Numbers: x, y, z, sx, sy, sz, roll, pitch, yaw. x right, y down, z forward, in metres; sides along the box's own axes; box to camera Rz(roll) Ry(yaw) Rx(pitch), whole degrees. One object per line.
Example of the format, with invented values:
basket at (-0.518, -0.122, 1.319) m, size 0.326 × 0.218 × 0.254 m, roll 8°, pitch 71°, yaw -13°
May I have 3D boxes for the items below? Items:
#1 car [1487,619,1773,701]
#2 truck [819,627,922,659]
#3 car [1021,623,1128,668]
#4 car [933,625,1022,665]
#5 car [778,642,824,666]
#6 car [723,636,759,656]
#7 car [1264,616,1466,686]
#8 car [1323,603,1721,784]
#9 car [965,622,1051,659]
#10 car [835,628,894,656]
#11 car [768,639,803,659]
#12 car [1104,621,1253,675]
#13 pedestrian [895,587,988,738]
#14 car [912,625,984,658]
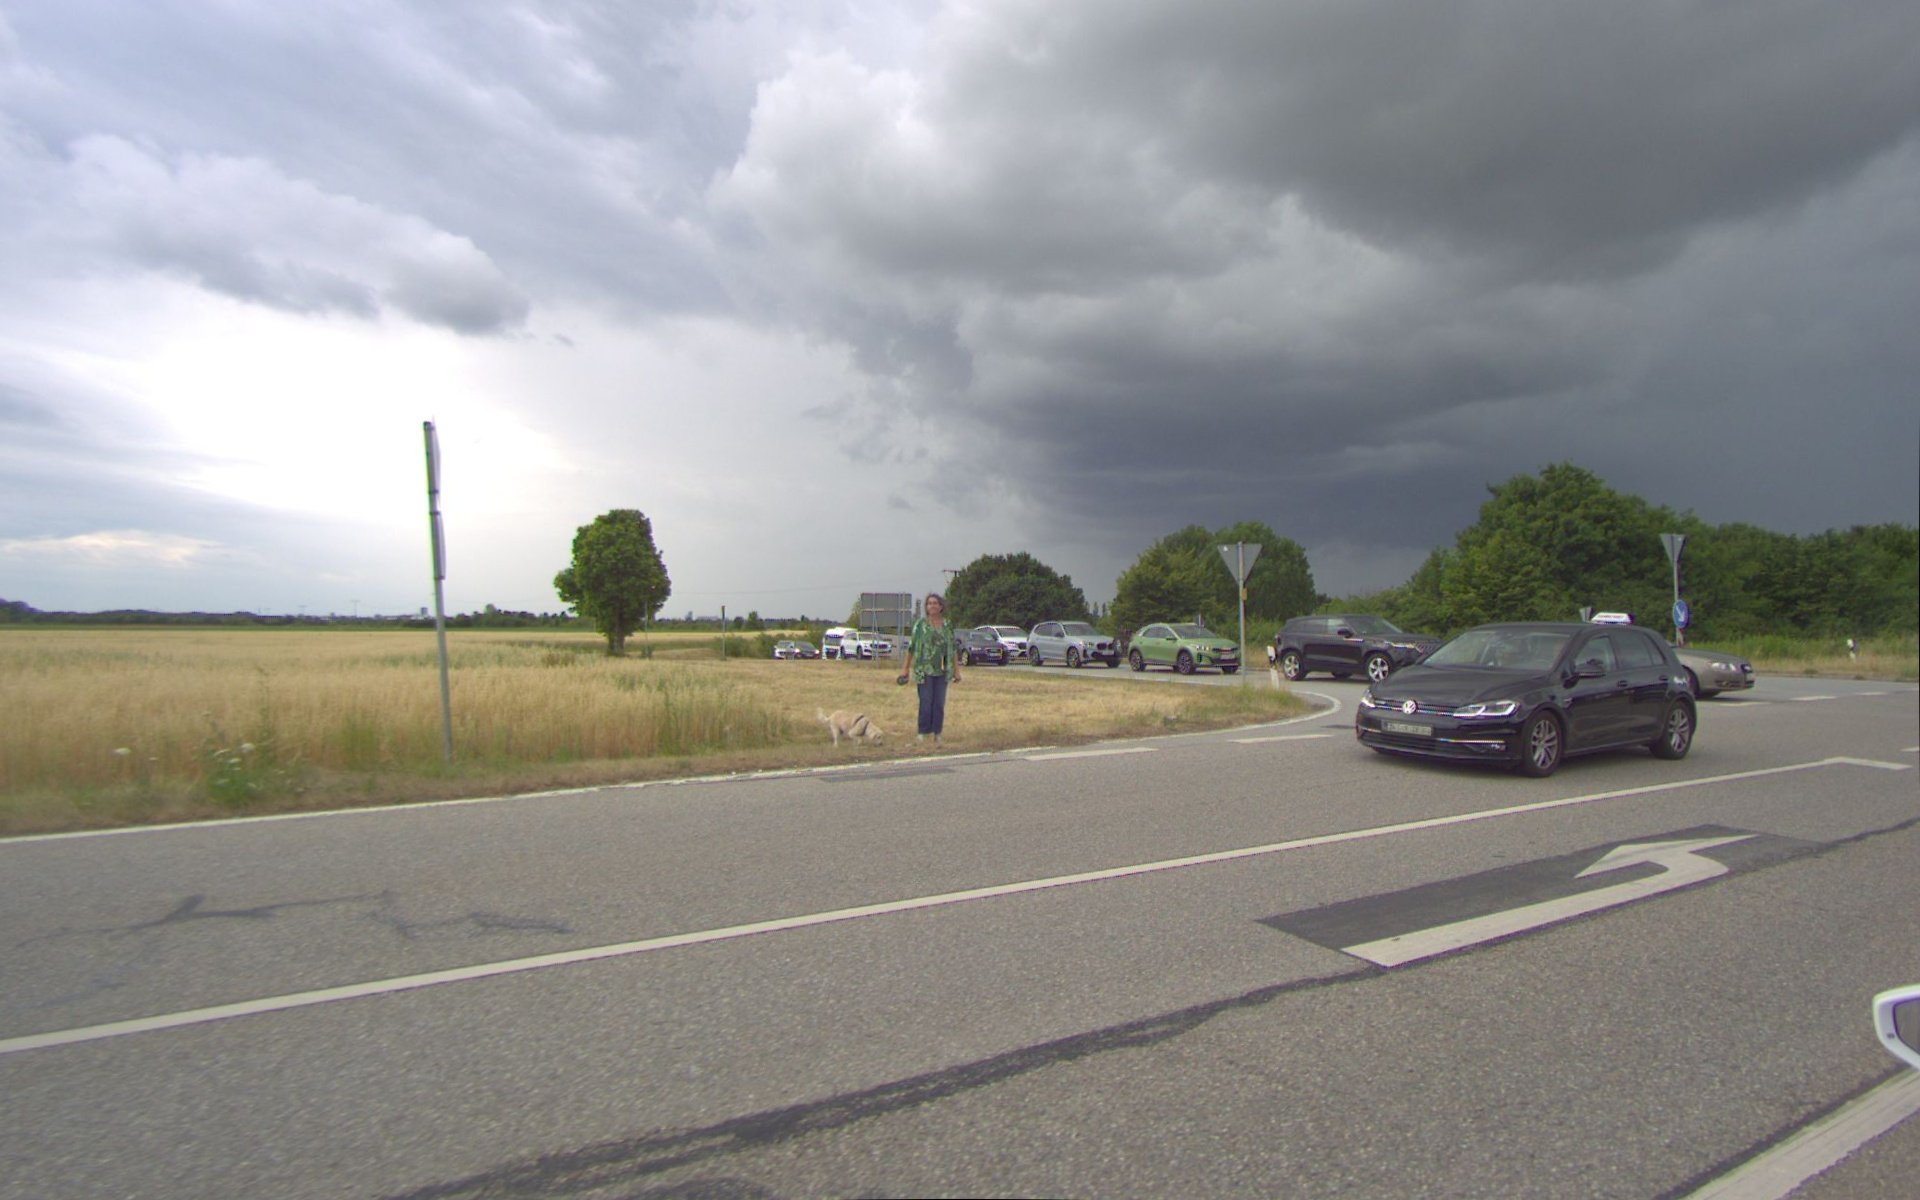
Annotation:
car at (13.227, 1.109, 20.085) m, size 1.894 × 1.443 × 4.417 m, roll 1°, pitch -2°, yaw -37°
truck at (-9.417, 4.561, 109.003) m, size 2.749 × 3.174 × 16.299 m, roll 0°, pitch -1°, yaw 28°
car at (4.118, 1.636, 37.002) m, size 1.884 × 1.537 × 4.613 m, roll 1°, pitch -1°, yaw -23°
car at (0.626, 1.738, 39.928) m, size 1.884 × 1.502 × 4.387 m, roll 1°, pitch -1°, yaw -23°
car at (-10.994, 3.691, 69.383) m, size 1.886 × 1.502 × 4.476 m, roll 1°, pitch -1°, yaw -26°
car at (-20.125, 4.195, 92.499) m, size 1.872 × 1.703 × 4.509 m, roll 0°, pitch -1°, yaw 6°
car at (9.864, 1.190, 24.925) m, size 1.884 × 1.552 × 4.729 m, roll 1°, pitch -1°, yaw -23°
car at (5.959, 0.853, 10.523) m, size 4.344 × 1.541 × 1.671 m, roll 1°, pitch 0°, yaw -30°
car at (1.965, 1.677, 42.659) m, size 1.884 × 1.502 × 4.481 m, roll 1°, pitch -1°, yaw -23°
car at (-5.522, 2.382, 57.427) m, size 1.886 × 1.502 × 4.476 m, roll 1°, pitch -1°, yaw -26°
car at (-14.341, 3.984, 82.674) m, size 1.873 × 1.502 × 4.508 m, roll 0°, pitch -1°, yaw 3°
car at (6.711, 1.428, 31.505) m, size 1.884 × 1.541 × 5.273 m, roll 1°, pitch -1°, yaw -23°
pedestrian at (-0.215, 0.699, 11.334) m, size 0.856 × 1.626 × 0.590 m, roll 1°, pitch -4°, yaw -33°
car at (-0.619, 1.955, 48.136) m, size 1.884 × 1.502 × 4.481 m, roll 1°, pitch -1°, yaw -23°
